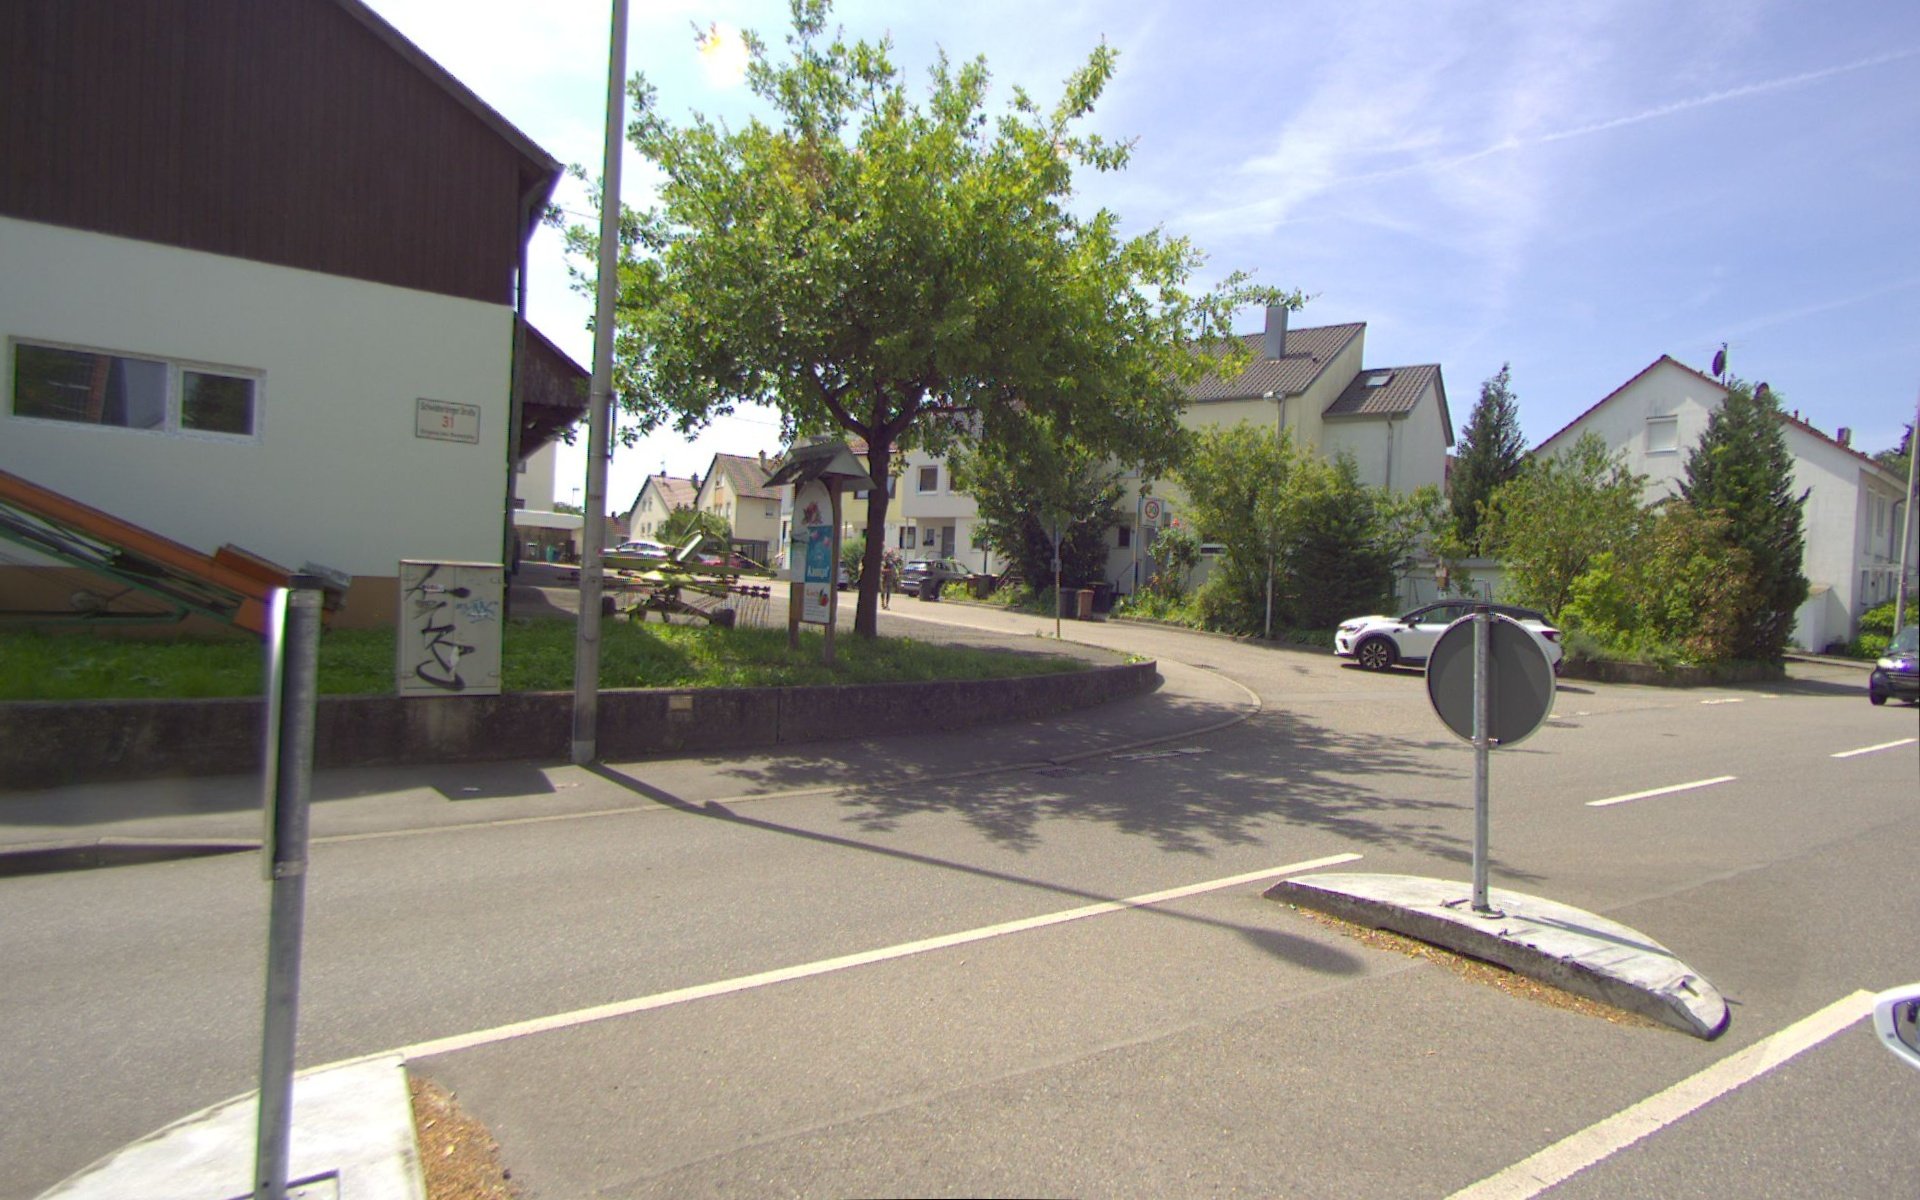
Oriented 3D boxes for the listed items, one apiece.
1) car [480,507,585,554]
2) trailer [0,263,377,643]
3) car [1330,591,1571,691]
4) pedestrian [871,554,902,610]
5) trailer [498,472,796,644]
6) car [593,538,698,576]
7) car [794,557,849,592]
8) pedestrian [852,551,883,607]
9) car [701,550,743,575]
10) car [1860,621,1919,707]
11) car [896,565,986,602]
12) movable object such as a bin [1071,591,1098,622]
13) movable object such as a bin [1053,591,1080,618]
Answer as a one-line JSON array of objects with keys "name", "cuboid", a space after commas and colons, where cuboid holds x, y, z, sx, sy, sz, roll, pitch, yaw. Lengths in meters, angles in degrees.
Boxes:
[{"name": "car", "cuboid": [-21.357, -3.442, 50.241, 4.606, 2.041, 1.983, 1, 2, -32]}, {"name": "trailer", "cuboid": [-8.241, -1.145, 8.061, 6.106, 2.887, 1.702, 1, 1, -32]}, {"name": "car", "cuboid": [9.753, 0.754, 20.303, 4.090, 1.550, 1.788, 5, 3, 23]}, {"name": "pedestrian", "cuboid": [-2.181, -0.534, 29.902, 0.580, 1.595, 0.721, 4, 0, -27]}, {"name": "trailer", "cuboid": [-3.668, -0.528, 12.674, 2.712, 1.714, 3.705, 3, 2, -4]}, {"name": "car", "cuboid": [-14.217, -1.925, 45.409, 4.157, 1.433, 1.999, 5, 2, 22]}, {"name": "car", "cuboid": [-6.543, -1.223, 47.178, 1.511, 1.417, 3.116, 3, 2, -28]}, {"name": "pedestrian", "cuboid": [-2.725, -0.620, 29.621, 0.591, 1.595, 0.714, 4, 0, -27]}, {"name": "car", "cuboid": [-14.582, -2.314, 61.578, 1.564, 1.400, 2.903, 1, 3, -34]}, {"name": "car", "cuboid": [18.251, 1.180, 18.854, 2.773, 1.530, 1.470, 1, -1, -36]}, {"name": "car", "cuboid": [-0.785, -0.700, 43.585, 3.765, 1.400, 1.541, 1, 3, -41]}, {"name": "movable object such as a bin", "cuboid": [3.814, 0.200, 30.794, 0.584, 0.902, 0.576, 1, 3, -24]}, {"name": "movable object such as a bin", "cuboid": [3.378, 0.144, 31.801, 0.596, 0.821, 0.636, 1, 2, -25]}]
